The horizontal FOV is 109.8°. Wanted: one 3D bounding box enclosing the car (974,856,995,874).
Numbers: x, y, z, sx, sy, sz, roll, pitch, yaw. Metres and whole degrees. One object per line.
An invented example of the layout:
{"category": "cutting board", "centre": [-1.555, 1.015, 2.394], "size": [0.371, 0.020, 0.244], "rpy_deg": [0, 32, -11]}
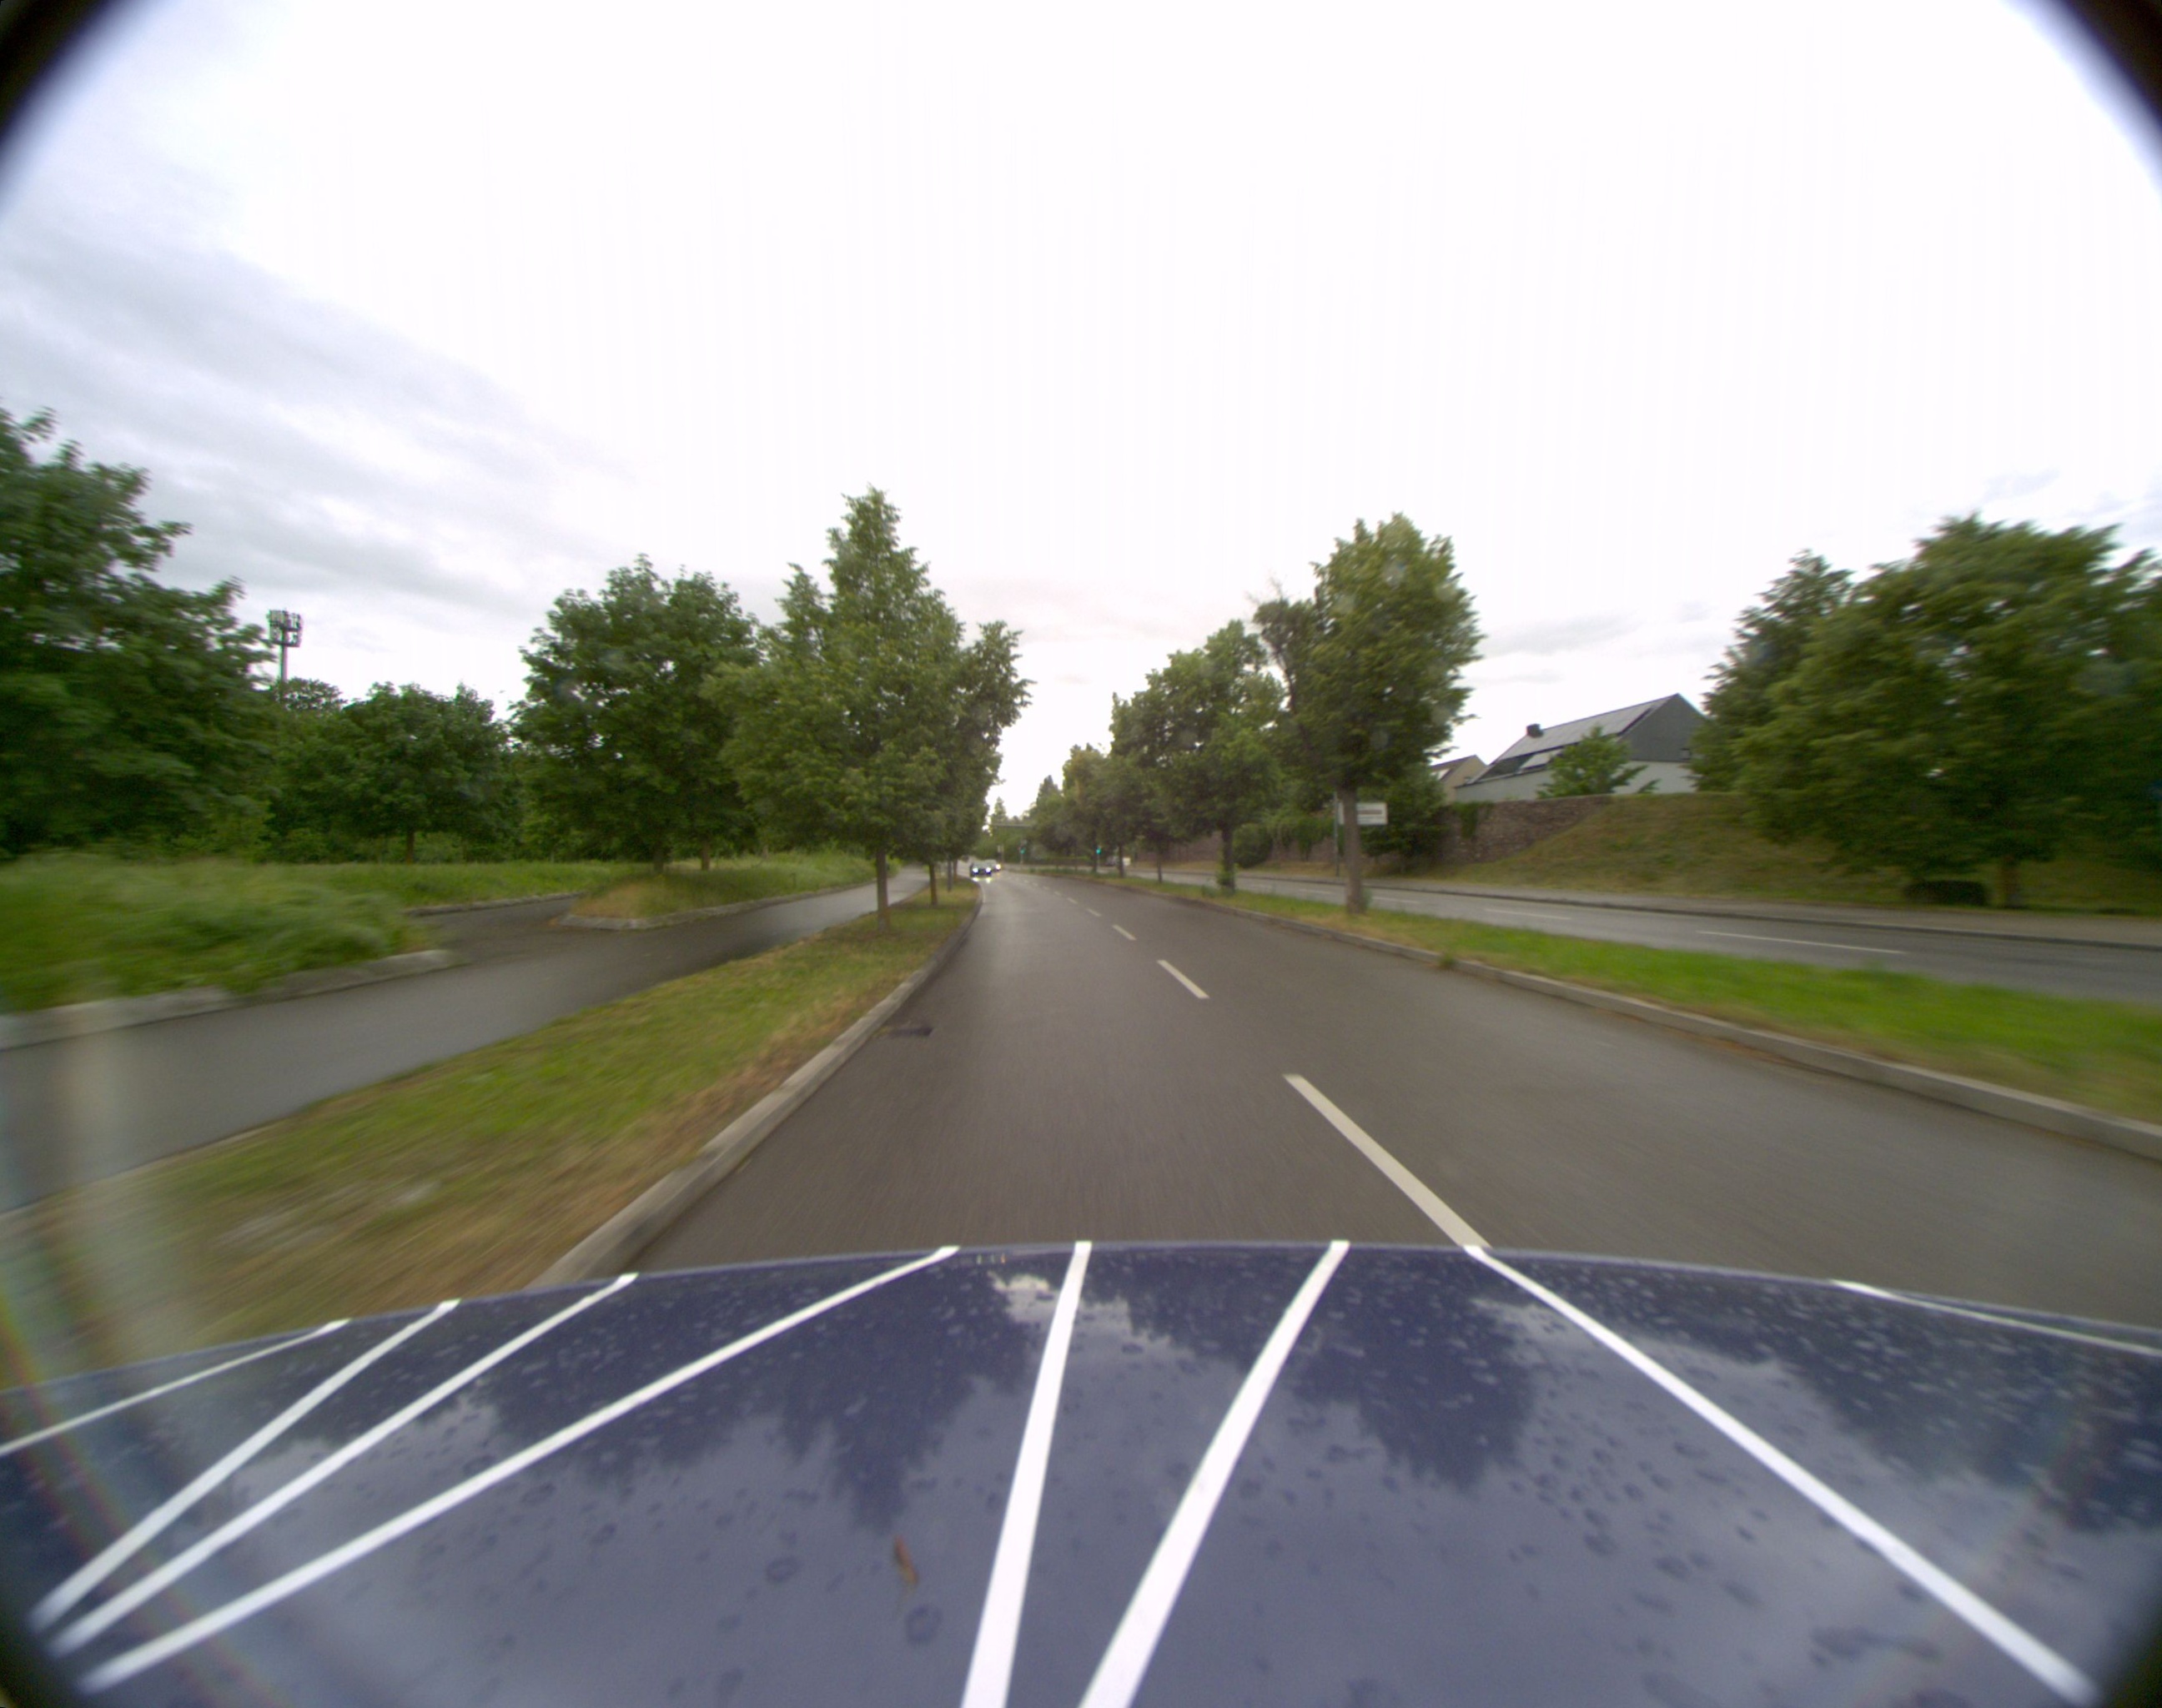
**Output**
{"category": "car", "centre": [-9.011, 1.017, 70.807], "size": [1.826, 1.547, 3.996], "rpy_deg": [-1, 1, -9]}

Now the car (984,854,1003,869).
{"category": "car", "centre": [-10.460, 0.884, 90.493], "size": [1.826, 1.547, 3.995], "rpy_deg": [-2, 1, -13]}

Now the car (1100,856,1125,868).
{"category": "car", "centre": [4.285, 1.078, 103.668], "size": [2.919, 1.530, 1.688], "rpy_deg": [-1, 0, -26]}
